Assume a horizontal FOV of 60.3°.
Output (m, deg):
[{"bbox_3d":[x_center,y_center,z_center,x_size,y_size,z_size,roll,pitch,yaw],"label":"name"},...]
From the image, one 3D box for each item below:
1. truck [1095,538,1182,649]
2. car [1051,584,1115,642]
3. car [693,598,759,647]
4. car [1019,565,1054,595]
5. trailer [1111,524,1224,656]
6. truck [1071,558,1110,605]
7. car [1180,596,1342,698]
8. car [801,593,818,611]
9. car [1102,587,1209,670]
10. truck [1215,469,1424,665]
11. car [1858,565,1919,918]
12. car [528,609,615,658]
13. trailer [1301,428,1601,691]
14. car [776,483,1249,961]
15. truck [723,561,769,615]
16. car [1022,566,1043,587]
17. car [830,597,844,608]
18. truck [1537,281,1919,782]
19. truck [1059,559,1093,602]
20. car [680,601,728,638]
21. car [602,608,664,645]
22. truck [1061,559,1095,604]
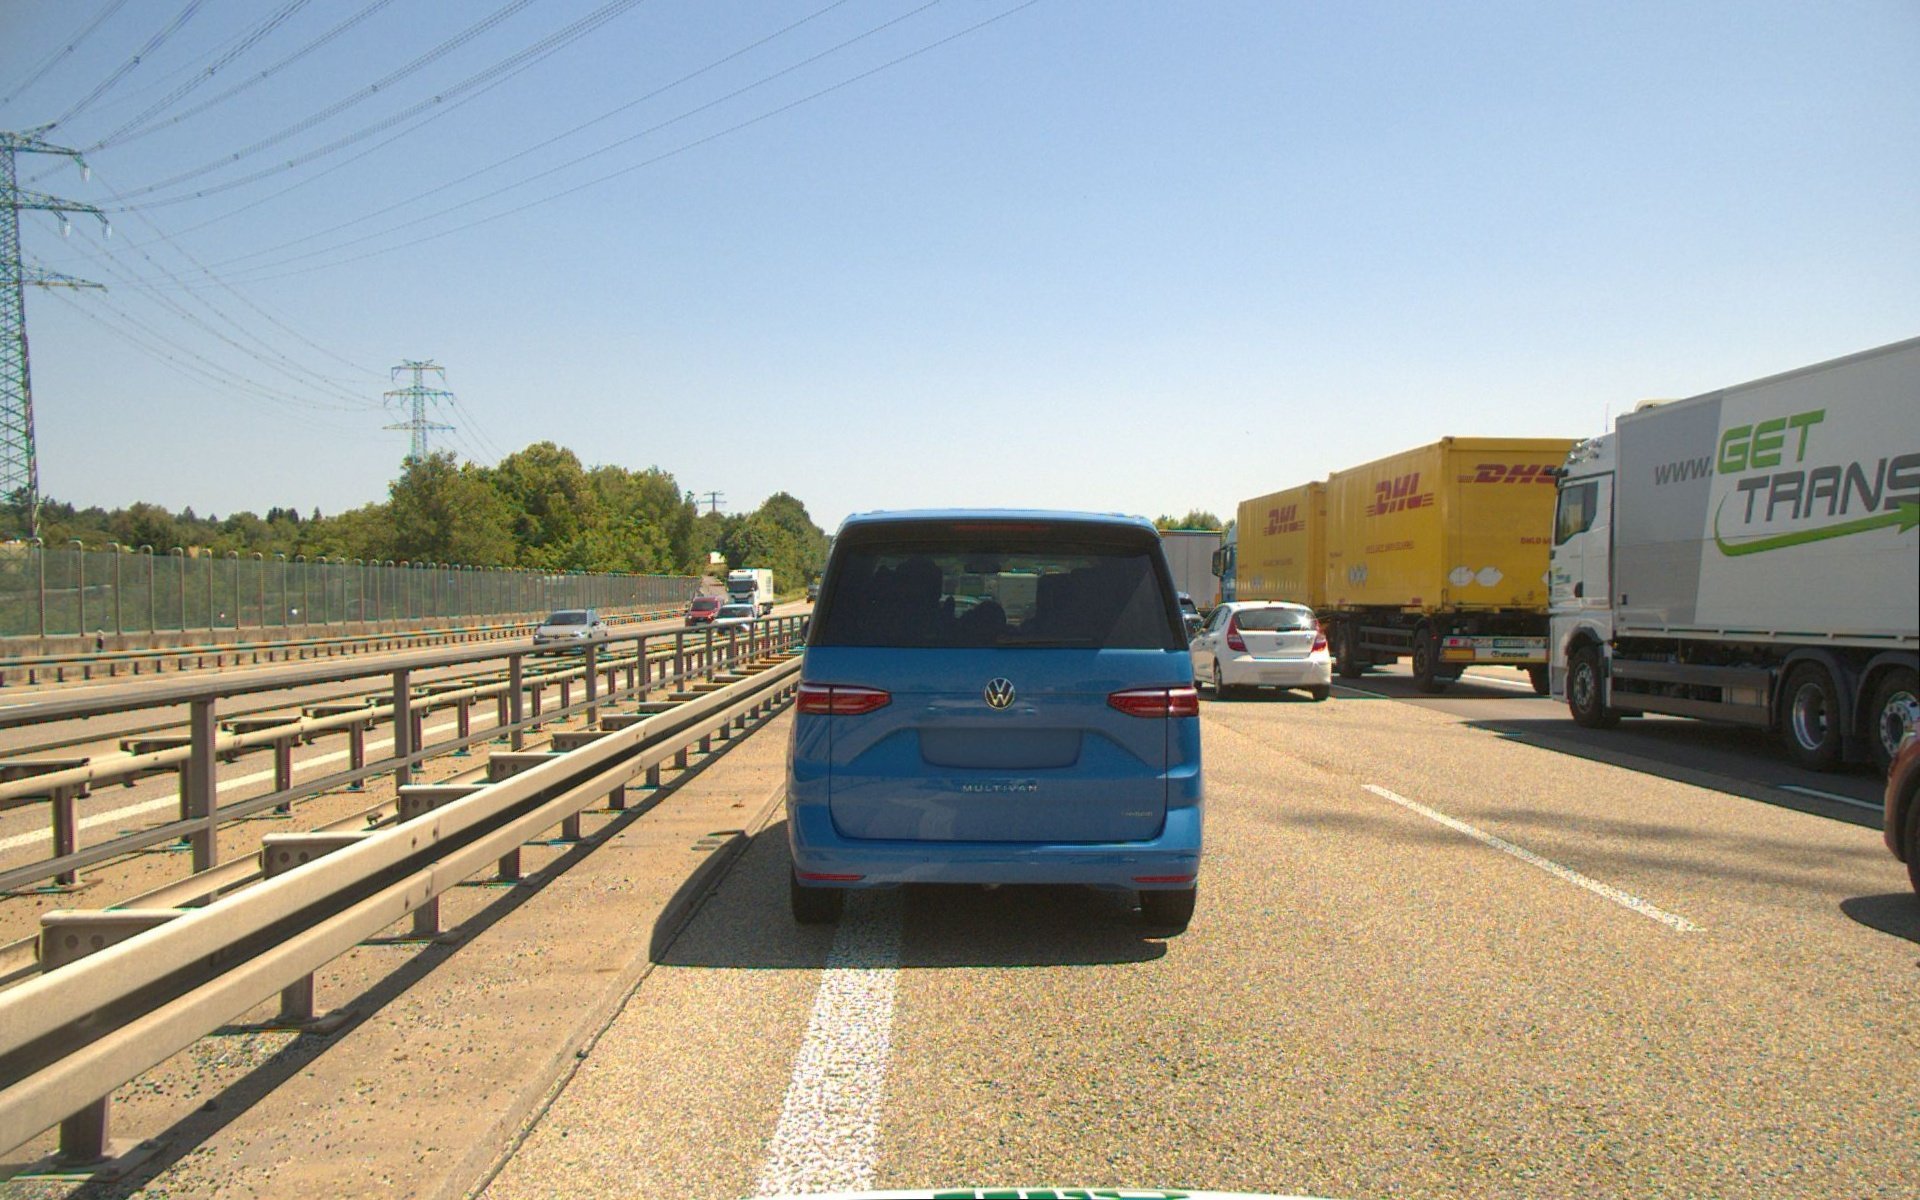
[{"bbox_3d":[7.921,-0.235,74.349,2.964,4.692,7.920,1,-1,0],"label":"truck"},{"bbox_3d":[4.305,0.453,58.470,1.922,1.970,3.931,1,-1,-1],"label":"car"},{"bbox_3d":[-8.518,0.814,60.519,1.834,1.556,3.607,-6,0,-1],"label":"car"},{"bbox_3d":[4.711,-1.217,102.321,1.880,1.736,3.999,1,-1,-1],"label":"car"},{"bbox_3d":[7.974,-0.319,64.934,2.964,4.692,10.923,1,-1,0],"label":"trailer"},{"bbox_3d":[7.186,-0.982,91.343,1.761,2.492,4.503,1,-1,0],"label":"truck"},{"bbox_3d":[4.759,0.718,26.665,1.778,1.496,3.930,1,-1,-2],"label":"car"},{"bbox_3d":[-22.242,0.318,245.048,1.953,2.627,6.648,-2,0,-2],"label":"car"},{"bbox_3d":[4.278,0.617,36.718,1.778,1.708,3.930,1,-1,-2],"label":"car"},{"bbox_3d":[8.458,-0.667,40.348,2.645,4.159,9.936,1,-1,-2],"label":"truck"},{"bbox_3d":[5.501,0.675,6.413,1.673,1.708,4.284,0,0,-1],"label":"car"},{"bbox_3d":[-12.647,1.051,54.042,1.834,1.467,4.384,-2,0,-1],"label":"car"},{"bbox_3d":[8.766,-0.612,30.859,2.628,4.159,8.976,1,-1,-2],"label":"trailer"},{"bbox_3d":[0.195,0.511,8.706,1.891,1.906,3.999,1,-1,-1],"label":"car"},{"bbox_3d":[-18.194,-0.984,140.985,2.869,4.368,6.857,-3,-1,0],"label":"truck"},{"bbox_3d":[6.863,-2.209,155.911,1.760,1.782,3.942,1,-1,0],"label":"car"},{"bbox_3d":[-18.388,0.406,247.339,1.736,1.517,4.604,-1,0,0],"label":"car"},{"bbox_3d":[8.994,-0.506,16.189,2.794,4.003,10.607,1,-1,-1],"label":"truck"},{"bbox_3d":[7.379,-1.211,105.466,1.760,2.641,4.305,1,-1,0],"label":"truck"},{"bbox_3d":[-13.246,1.002,85.789,1.802,1.854,4.746,-1,-1,-1],"label":"car"},{"bbox_3d":[-13.950,1.123,70.760,1.834,1.467,4.384,-2,0,-1],"label":"car"},{"bbox_3d":[7.117,-1.088,100.025,1.706,2.593,4.209,1,-1,0],"label":"truck"}]
